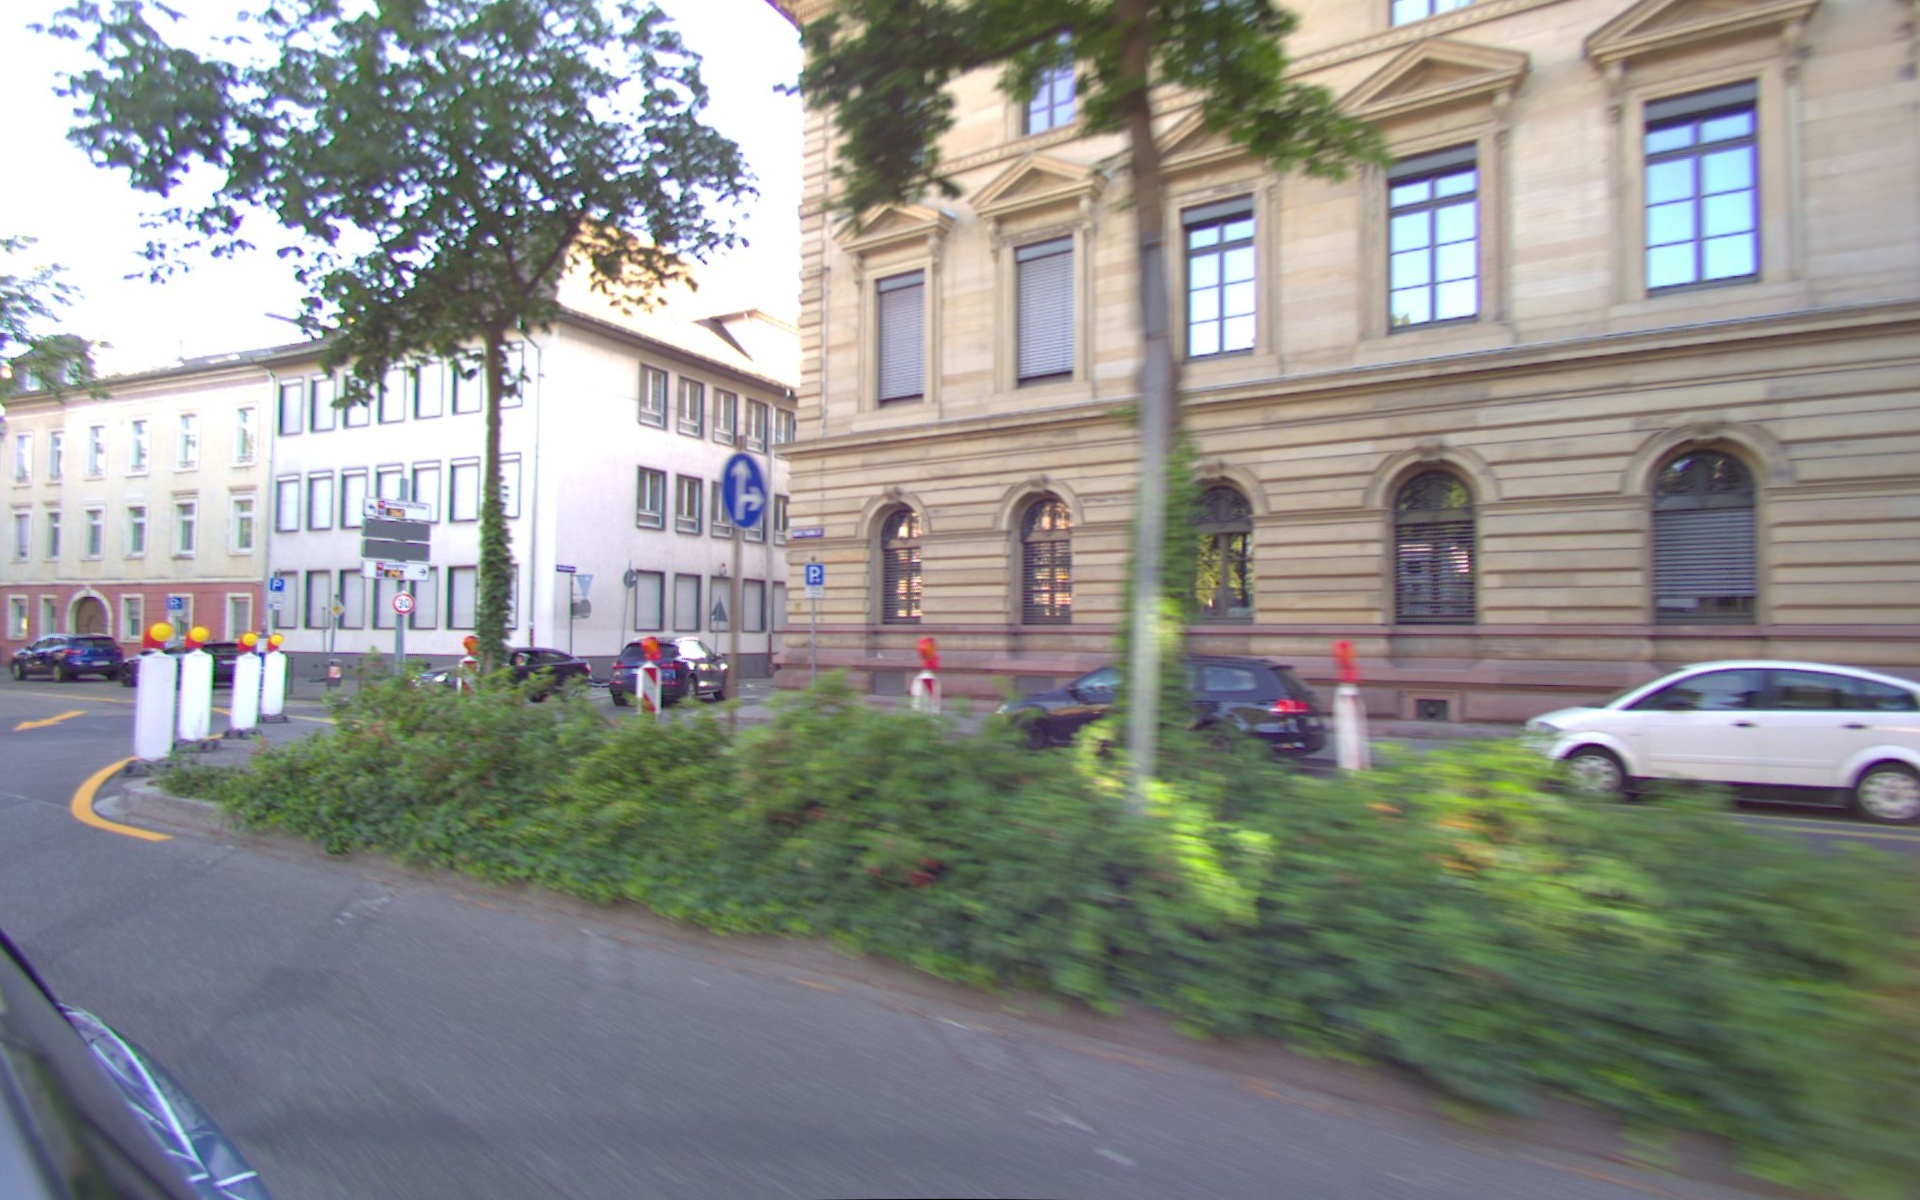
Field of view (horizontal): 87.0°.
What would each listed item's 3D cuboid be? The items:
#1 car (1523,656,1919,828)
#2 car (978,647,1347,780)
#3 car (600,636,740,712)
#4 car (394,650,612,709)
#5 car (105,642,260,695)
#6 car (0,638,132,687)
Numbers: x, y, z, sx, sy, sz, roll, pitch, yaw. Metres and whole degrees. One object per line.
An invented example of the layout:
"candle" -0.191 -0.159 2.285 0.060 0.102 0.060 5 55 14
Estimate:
"car" 8.125 1.367 10.564 3.834 1.519 1.654 -1 -3 33
"car" 2.697 1.451 13.899 4.630 1.519 1.864 -1 -5 33
"car" -7.060 1.818 25.184 1.859 1.683 4.649 1 -4 4
"car" -11.269 1.925 25.297 1.763 1.333 4.717 -2 -3 36
"car" -24.478 2.100 31.839 4.759 1.519 1.866 -1 -2 25
"car" -30.670 2.103 34.696 4.128 1.583 1.793 -1 -3 23
